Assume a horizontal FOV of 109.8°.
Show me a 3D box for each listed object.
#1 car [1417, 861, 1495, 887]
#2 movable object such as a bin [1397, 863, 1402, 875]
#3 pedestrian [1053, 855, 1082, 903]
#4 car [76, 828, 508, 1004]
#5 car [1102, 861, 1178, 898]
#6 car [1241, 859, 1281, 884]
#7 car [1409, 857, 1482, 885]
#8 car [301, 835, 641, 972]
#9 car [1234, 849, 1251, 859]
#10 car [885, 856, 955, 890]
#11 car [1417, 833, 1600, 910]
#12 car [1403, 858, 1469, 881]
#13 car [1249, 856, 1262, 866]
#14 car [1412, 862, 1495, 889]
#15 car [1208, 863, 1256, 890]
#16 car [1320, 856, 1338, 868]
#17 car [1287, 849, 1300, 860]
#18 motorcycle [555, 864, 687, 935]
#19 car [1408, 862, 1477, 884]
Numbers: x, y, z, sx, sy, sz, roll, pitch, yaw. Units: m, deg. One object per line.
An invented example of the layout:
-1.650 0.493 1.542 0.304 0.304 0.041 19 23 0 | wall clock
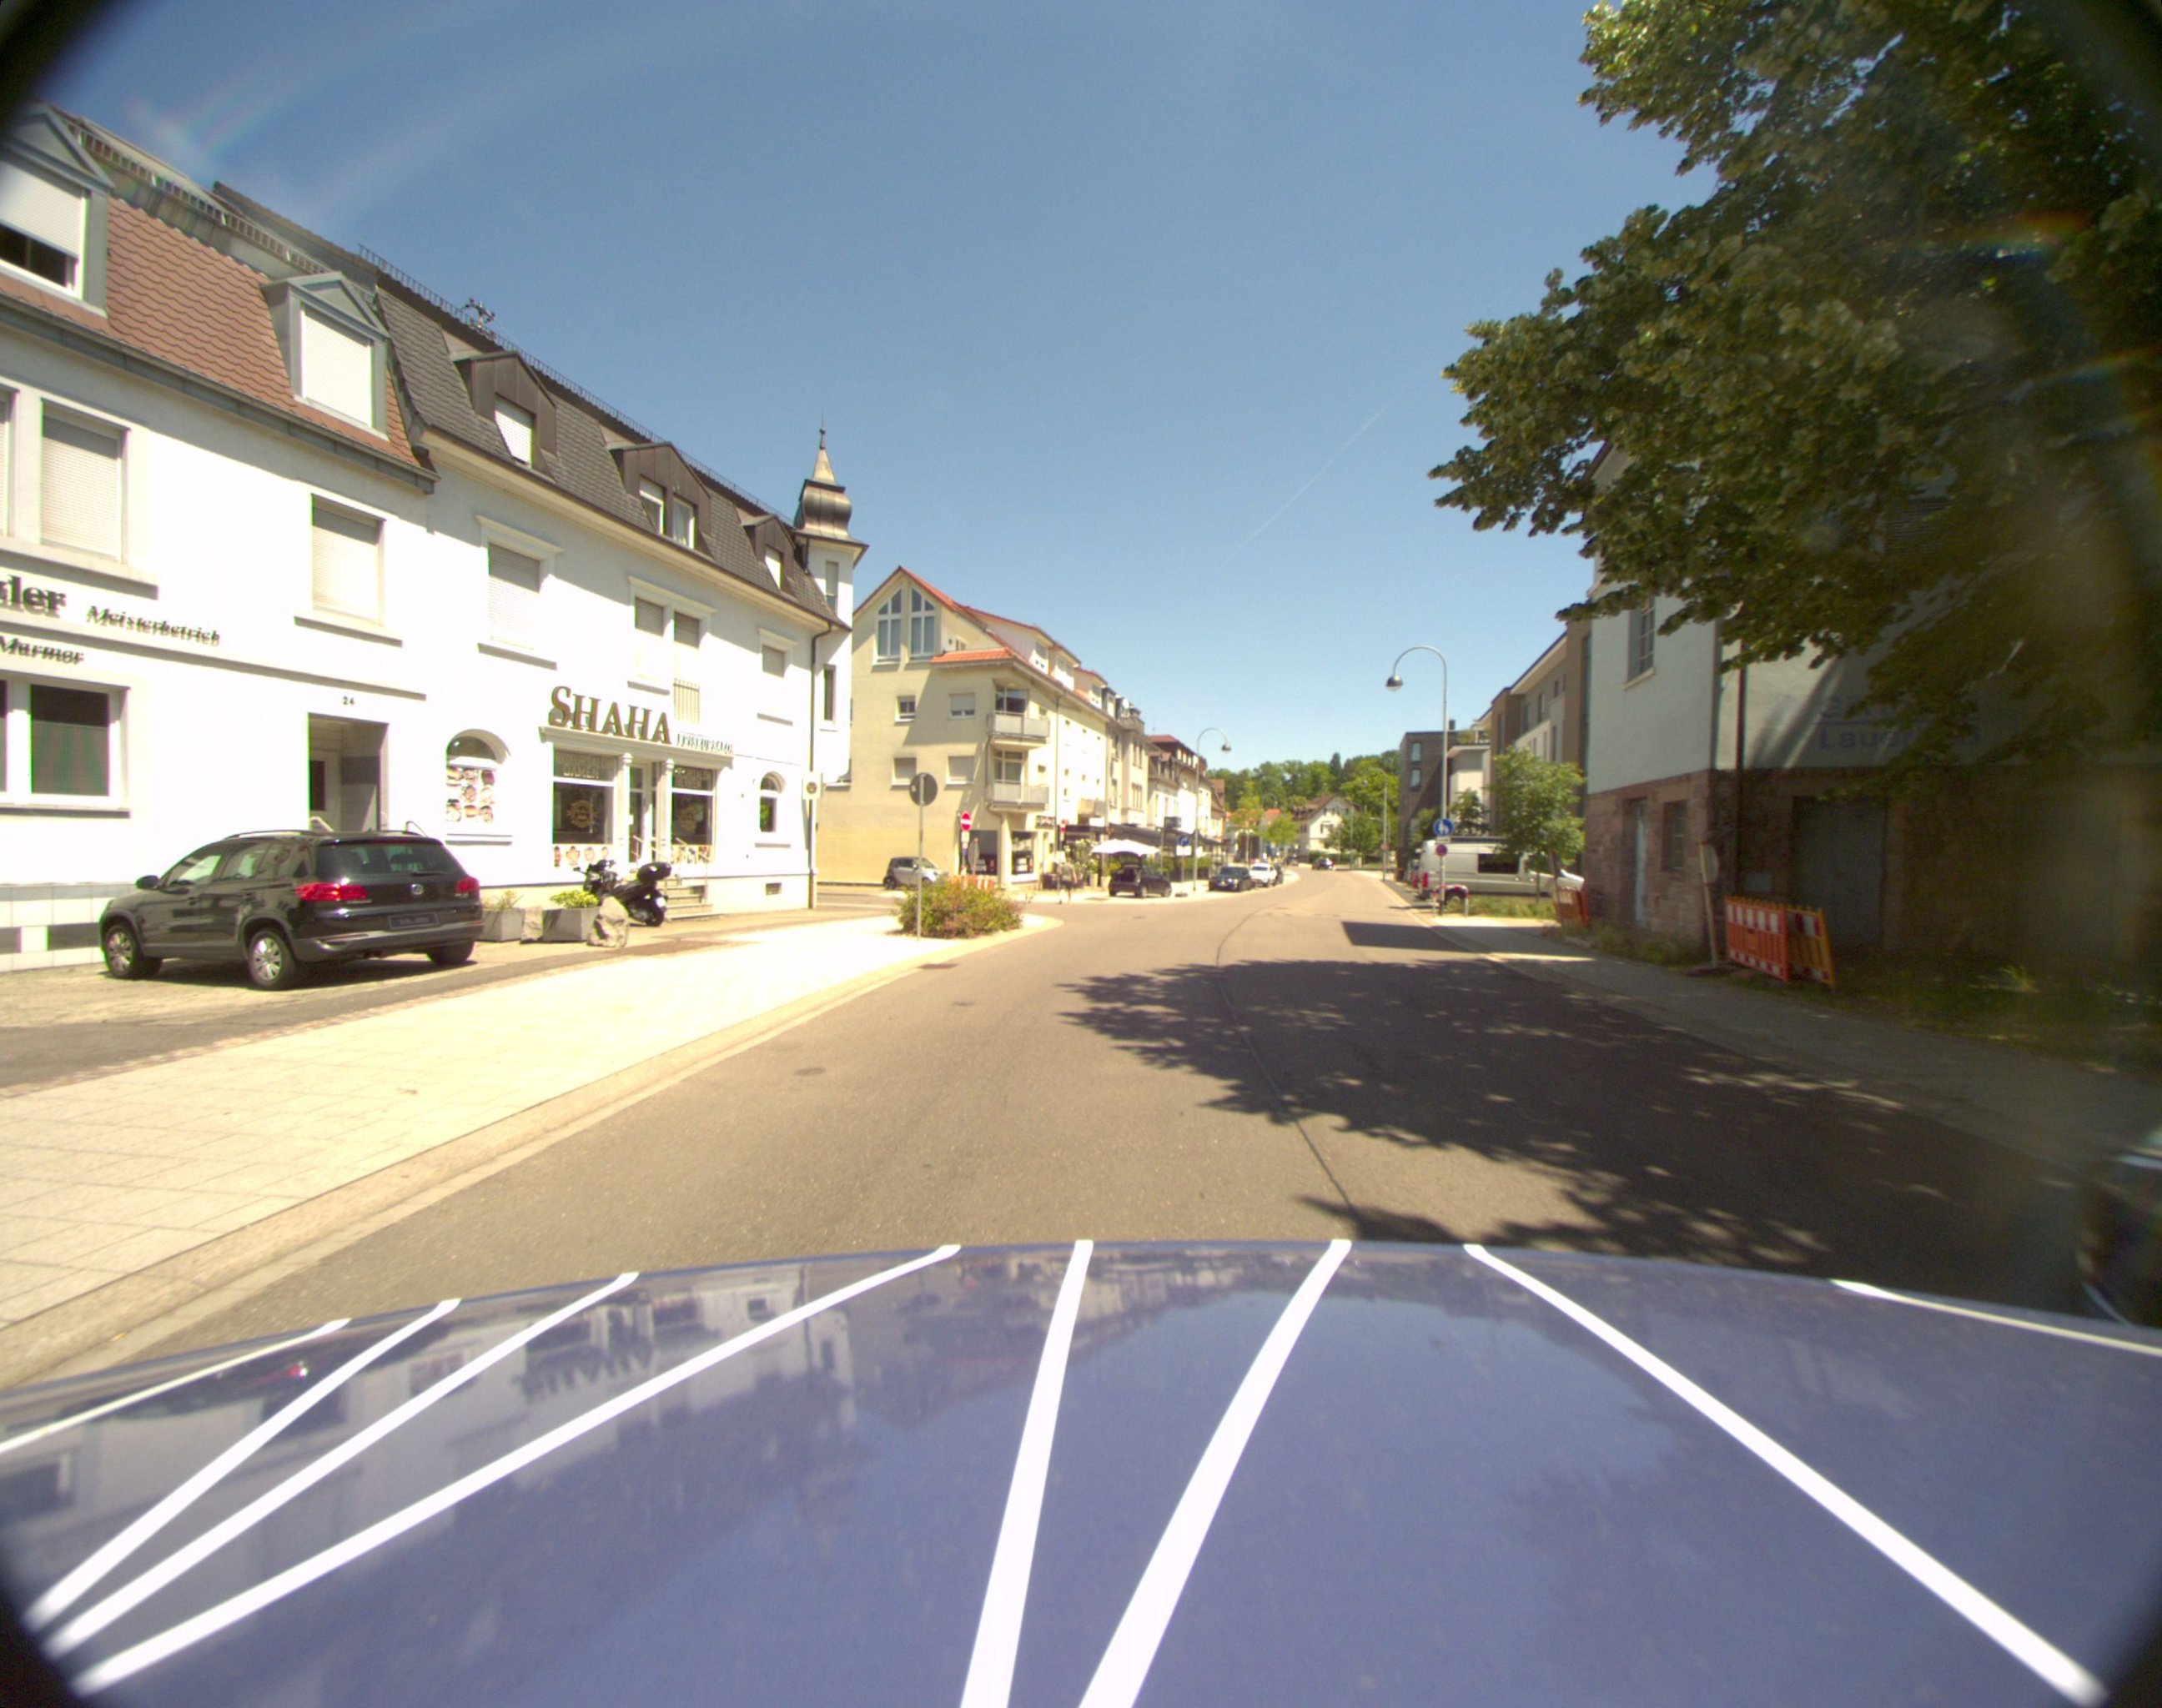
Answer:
22.139 1.172 45.039 4.036 1.488 2.003 -1 1 22 | car
27.112 1.267 64.675 0.403 0.992 0.556 1 1 18 | movable object such as a bin
-0.510 0.950 28.981 0.746 1.785 0.845 1 -1 27 | pedestrian
-9.146 0.612 8.880 4.080 1.706 1.858 0 1 18 | car
2.727 1.124 34.469 1.872 1.483 3.869 3 1 30 | car
12.065 1.135 50.769 1.738 1.477 4.061 4 2 25 | car
22.836 1.060 47.779 4.036 1.641 2.003 -1 1 22 | car
-8.753 0.629 10.982 4.080 1.706 1.858 0 1 18 | car
27.104 -0.034 127.623 1.734 1.464 4.323 3 1 0 | car
-7.361 0.848 34.782 2.730 1.463 1.532 0 2 19 | car
15.971 0.619 28.854 5.773 2.716 2.295 -1 1 20 | car
24.603 1.071 52.775 3.991 1.506 2.003 -1 1 21 | car
26.404 1.101 114.682 1.681 1.505 3.391 0 0 18 | car
20.825 1.165 42.644 4.036 1.422 2.003 -1 1 22 | car
8.798 1.257 44.019 1.725 1.397 4.617 2 1 23 | car
30.833 0.983 94.576 1.896 1.544 4.804 0 0 15 | car
32.666 0.112 116.898 1.813 1.691 4.080 0 0 14 | car
-8.881 0.847 14.680 2.379 1.268 0.857 0 0 19 | motorcycle
23.772 1.235 50.128 3.991 1.413 1.912 -1 1 20 | car
